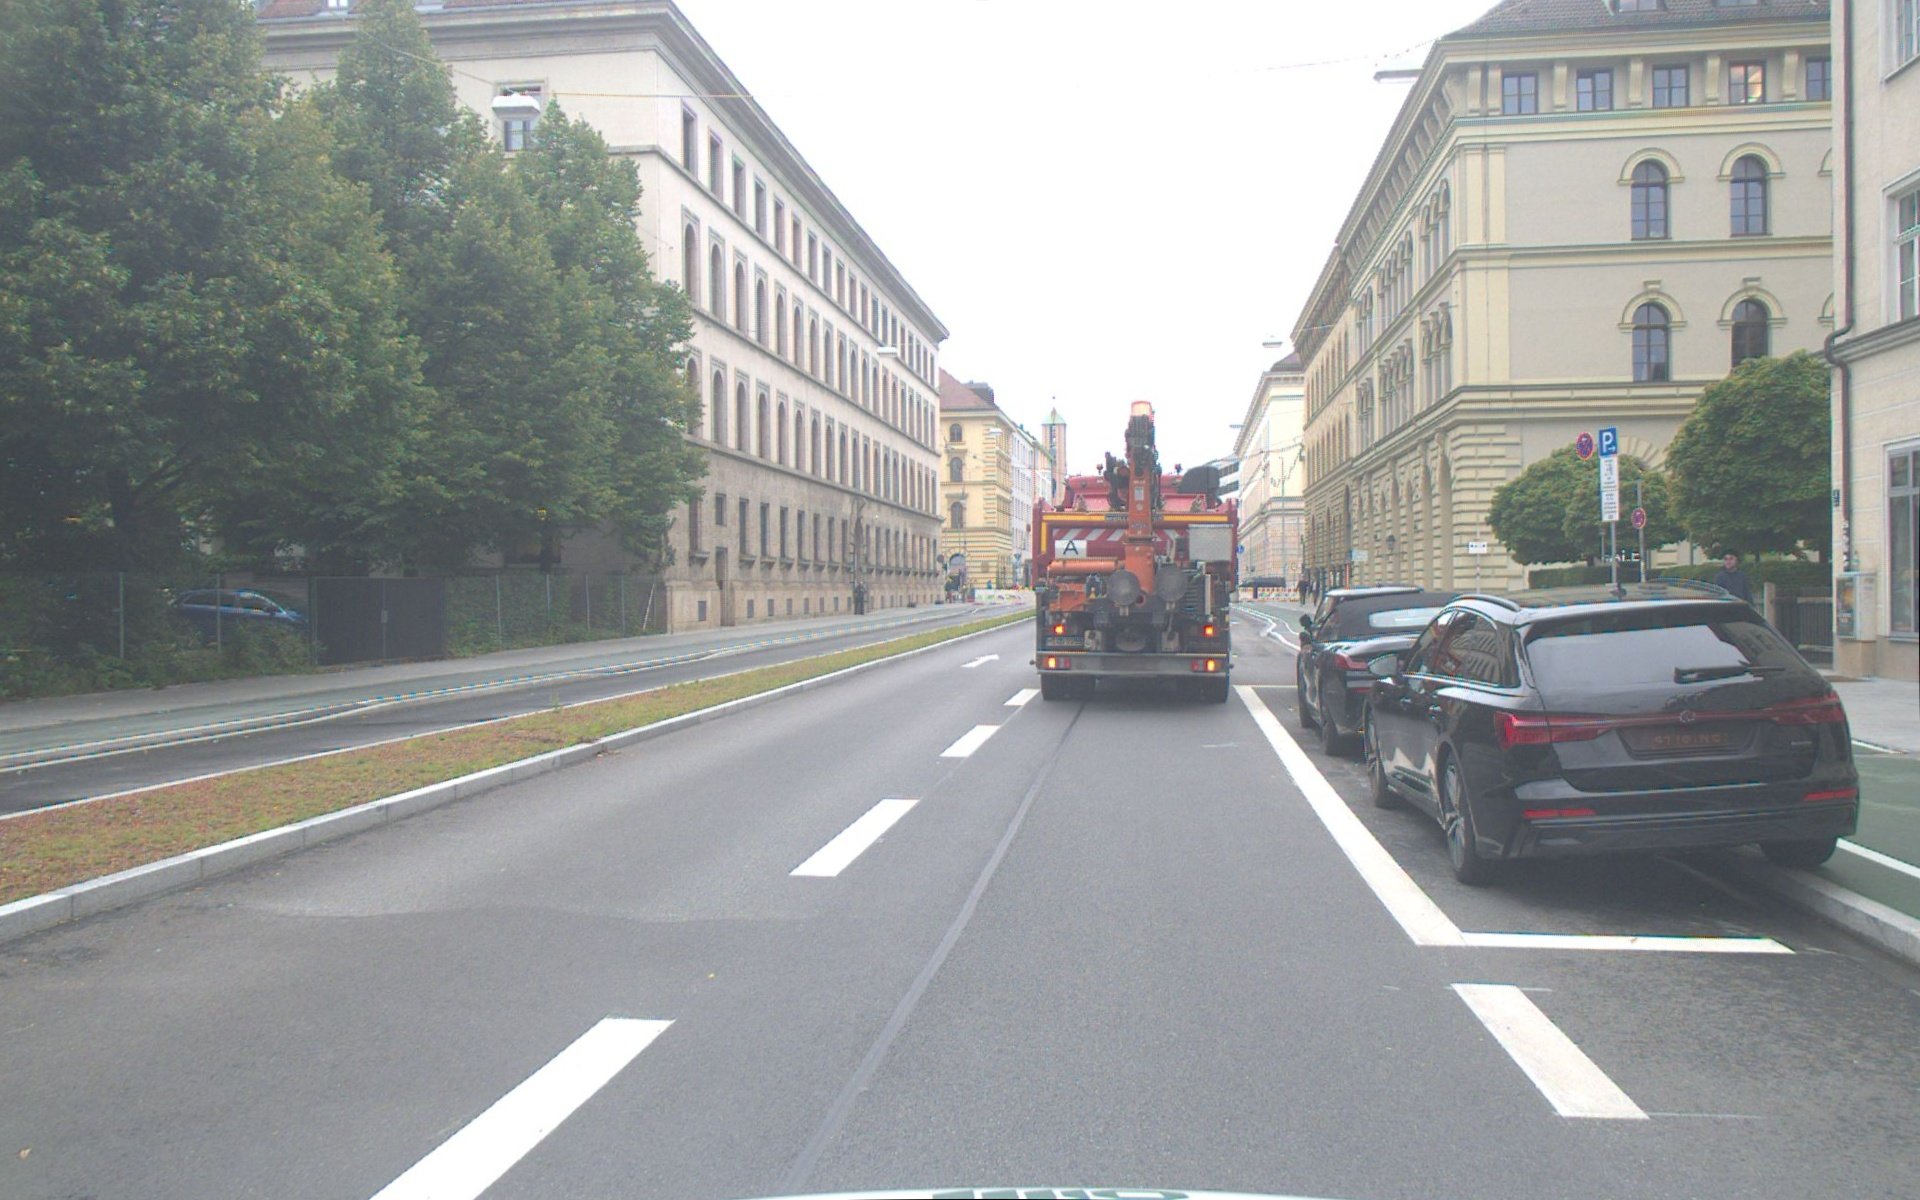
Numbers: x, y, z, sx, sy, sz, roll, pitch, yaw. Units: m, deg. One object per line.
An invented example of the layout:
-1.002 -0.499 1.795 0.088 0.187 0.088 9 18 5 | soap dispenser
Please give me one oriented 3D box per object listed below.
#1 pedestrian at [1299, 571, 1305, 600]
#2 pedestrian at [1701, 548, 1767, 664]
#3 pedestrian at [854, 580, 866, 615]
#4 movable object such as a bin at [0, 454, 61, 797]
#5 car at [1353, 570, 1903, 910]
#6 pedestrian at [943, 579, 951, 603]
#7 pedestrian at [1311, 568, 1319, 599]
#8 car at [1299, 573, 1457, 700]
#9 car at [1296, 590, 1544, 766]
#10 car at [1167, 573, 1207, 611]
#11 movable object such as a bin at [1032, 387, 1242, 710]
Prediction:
20.322 -0.878 98.234 0.330 1.701 0.440 -1 0 8 | pedestrian
12.661 0.094 27.082 0.773 1.868 0.778 -1 1 8 | pedestrian
-5.286 -0.148 87.385 0.576 1.863 0.499 0 1 6 | pedestrian
-8.312 0.221 11.622 1.956 2.687 4.657 -1 1 -8 | movable object such as a bin
3.533 0.603 9.742 1.763 1.505 4.690 -1 1 6 | car
-1.054 -0.691 131.049 0.576 1.863 0.499 0 1 6 | pedestrian
21.036 -0.972 98.036 0.436 1.868 0.556 -1 0 8 | pedestrian
5.420 0.429 21.784 1.576 1.521 3.427 -1 1 7 | car
4.269 0.635 15.967 1.644 1.410 4.430 0 1 7 | car
9.377 -0.357 68.413 1.576 1.521 3.427 -1 1 7 | car
2.324 -0.616 21.864 2.372 3.674 5.856 0 1 6 | movable object such as a bin
